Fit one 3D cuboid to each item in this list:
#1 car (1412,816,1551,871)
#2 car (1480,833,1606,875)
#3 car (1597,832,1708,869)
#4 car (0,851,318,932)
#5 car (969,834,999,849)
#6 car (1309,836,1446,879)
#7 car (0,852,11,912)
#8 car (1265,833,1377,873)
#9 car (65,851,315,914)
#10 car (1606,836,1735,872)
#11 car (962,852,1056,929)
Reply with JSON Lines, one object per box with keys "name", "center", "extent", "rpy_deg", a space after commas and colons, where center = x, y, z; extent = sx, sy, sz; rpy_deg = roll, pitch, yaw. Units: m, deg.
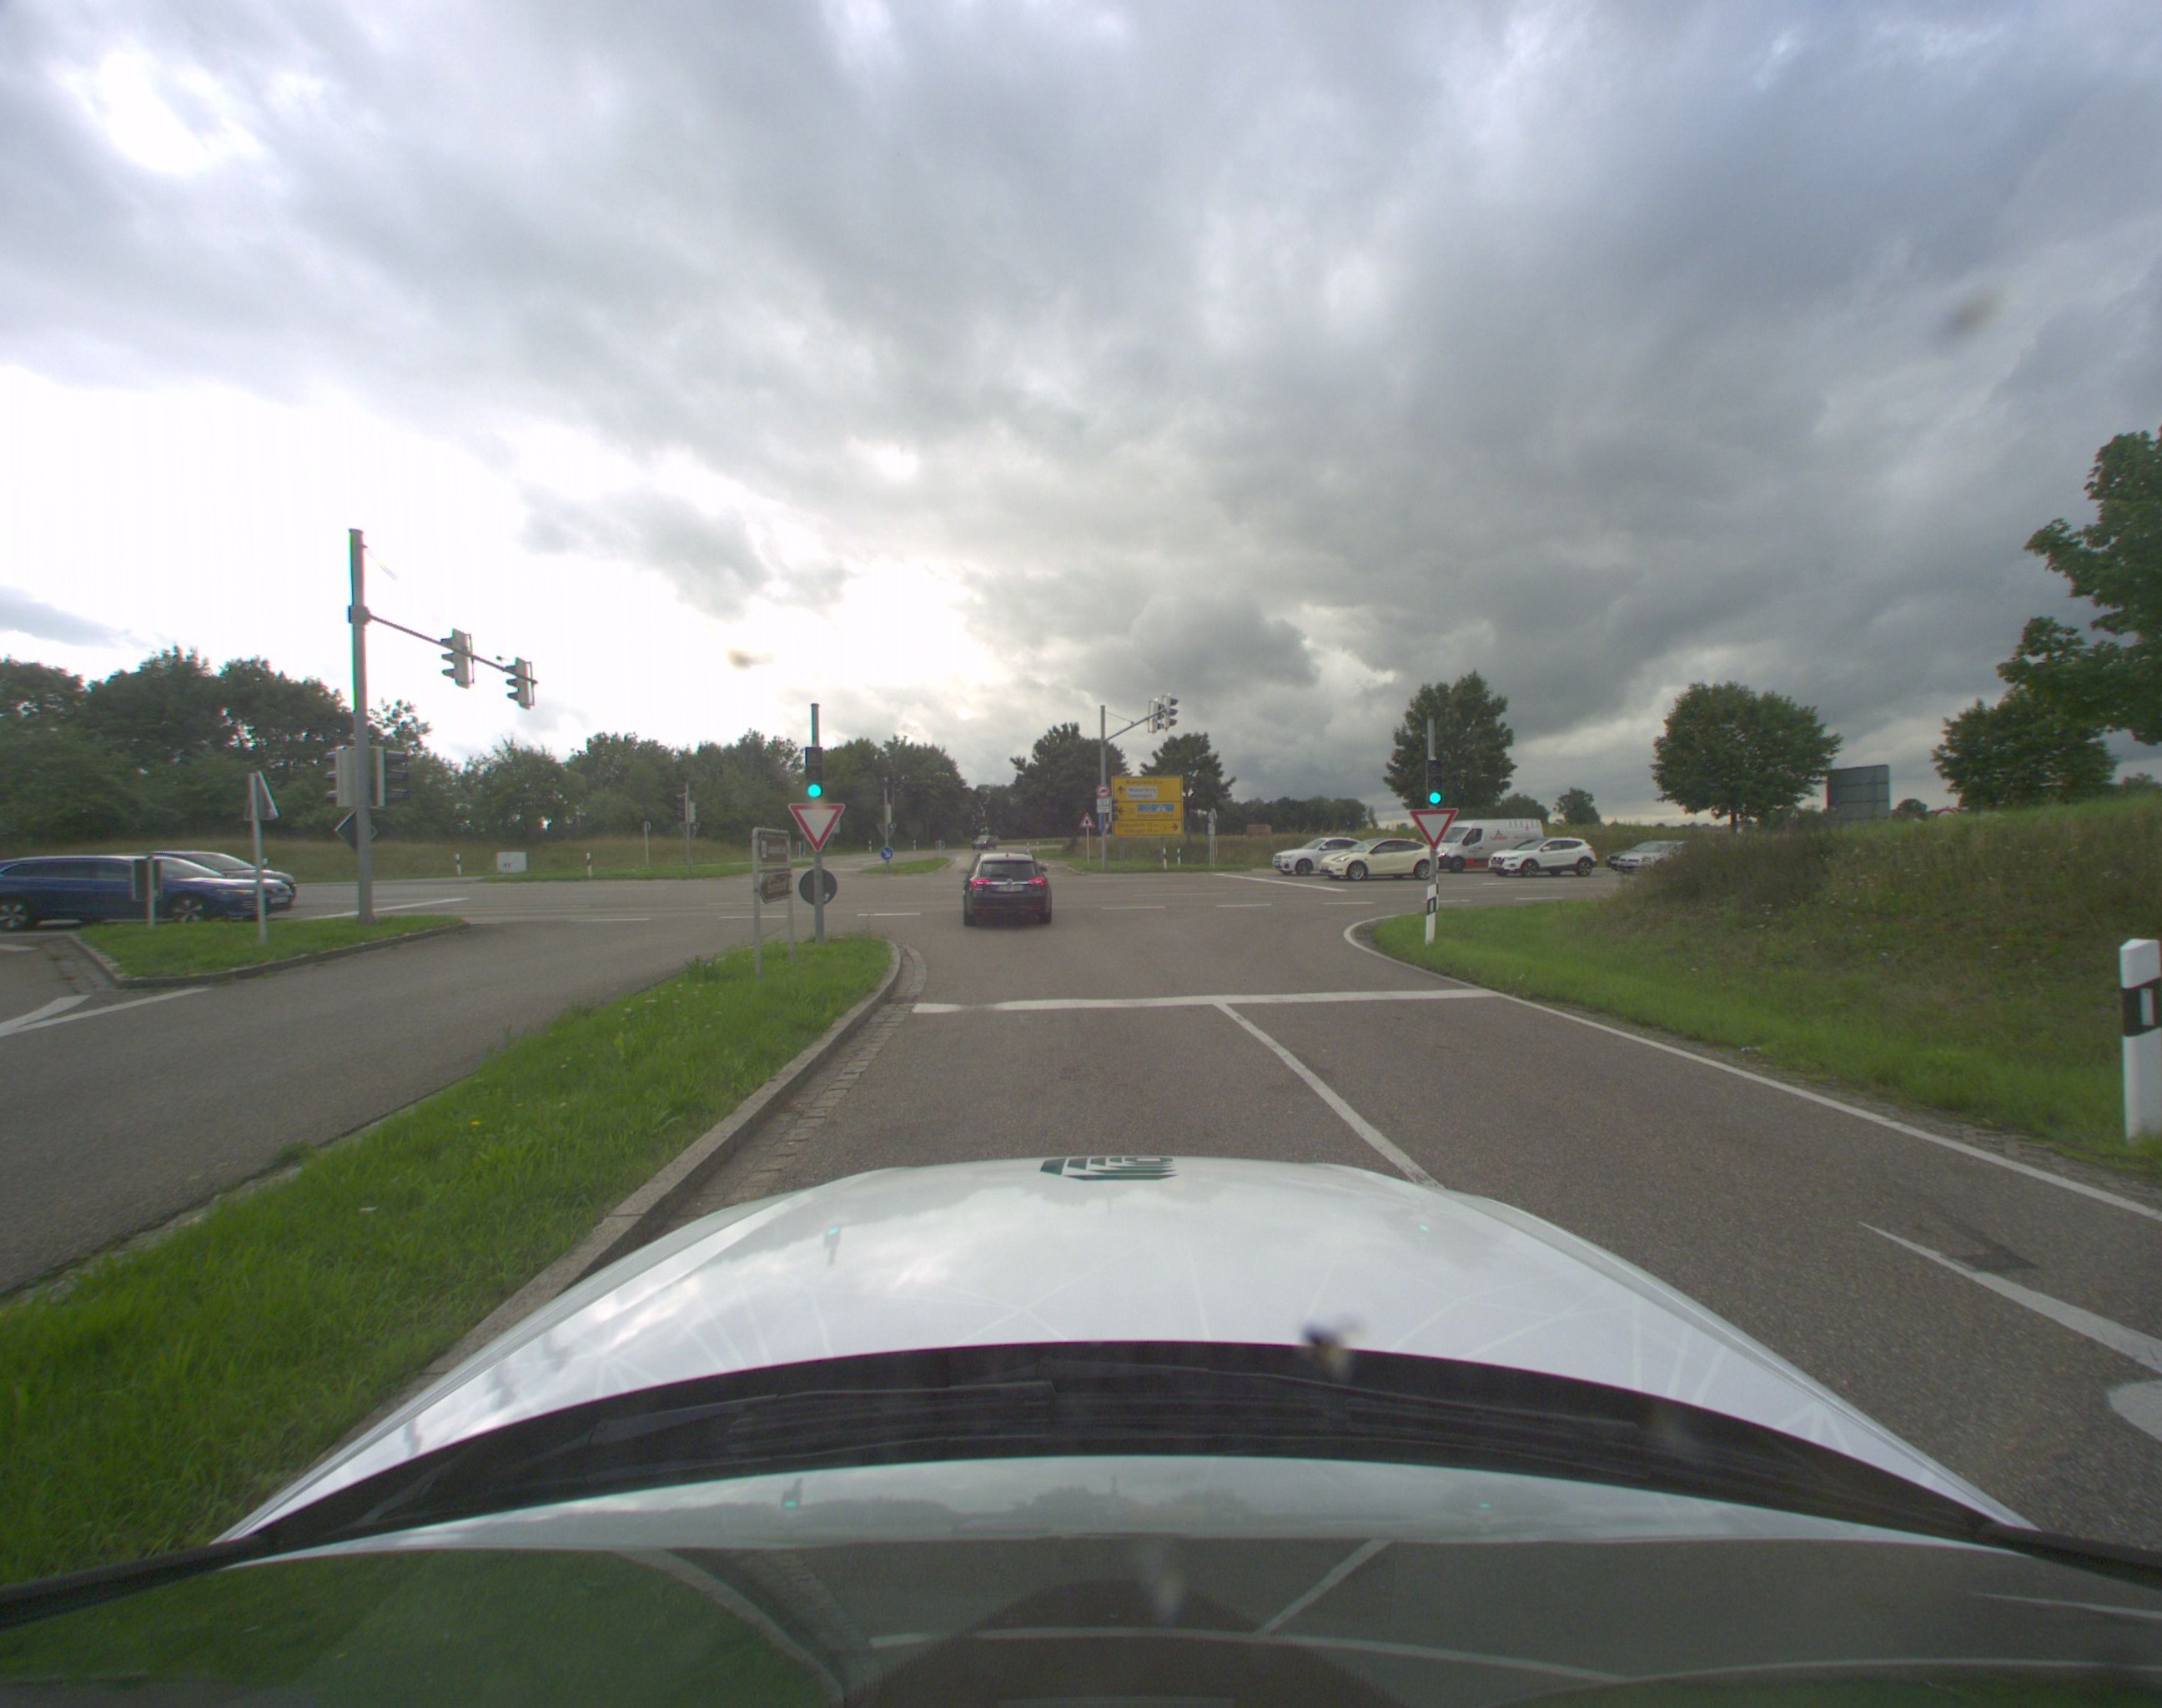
{"name": "car", "center": [18.557, -0.502, 37.860], "extent": [5.497, 2.441, 2.389], "rpy_deg": [-1, 0, -11]}
{"name": "car", "center": [19.097, 0.005, 33.758], "extent": [4.311, 1.629, 1.992], "rpy_deg": [-1, 0, -12]}
{"name": "car", "center": [27.210, -0.170, 38.829], "extent": [4.263, 1.629, 1.992], "rpy_deg": [-1, 0, -12]}
{"name": "car", "center": [-20.076, 0.737, 17.387], "extent": [5.117, 1.534, 2.042], "rpy_deg": [-1, 1, -14]}
{"name": "car", "center": [-10.430, -1.371, 87.940], "extent": [1.979, 1.535, 4.015], "rpy_deg": [-1, 0, 14]}
{"name": "car", "center": [11.635, 0.133, 32.031], "extent": [4.736, 1.565, 1.992], "rpy_deg": [-1, 0, -12]}
{"name": "car", "center": [-29.307, 0.760, 19.081], "extent": [4.871, 1.483, 2.046], "rpy_deg": [-1, 2, -13]}
{"name": "car", "center": [10.511, -0.046, 35.787], "extent": [4.264, 1.629, 1.992], "rpy_deg": [-1, 0, -12]}
{"name": "car", "center": [-22.311, 0.674, 20.571], "extent": [3.933, 1.443, 1.725], "rpy_deg": [-1, 1, -12]}
{"name": "car", "center": [25.393, -0.024, 35.143], "extent": [4.569, 1.454, 1.992], "rpy_deg": [-1, 1, -12]}
{"name": "car", "center": [-1.653, 0.698, 17.991], "extent": [1.806, 1.450, 4.262], "rpy_deg": [-1, 0, -7]}
